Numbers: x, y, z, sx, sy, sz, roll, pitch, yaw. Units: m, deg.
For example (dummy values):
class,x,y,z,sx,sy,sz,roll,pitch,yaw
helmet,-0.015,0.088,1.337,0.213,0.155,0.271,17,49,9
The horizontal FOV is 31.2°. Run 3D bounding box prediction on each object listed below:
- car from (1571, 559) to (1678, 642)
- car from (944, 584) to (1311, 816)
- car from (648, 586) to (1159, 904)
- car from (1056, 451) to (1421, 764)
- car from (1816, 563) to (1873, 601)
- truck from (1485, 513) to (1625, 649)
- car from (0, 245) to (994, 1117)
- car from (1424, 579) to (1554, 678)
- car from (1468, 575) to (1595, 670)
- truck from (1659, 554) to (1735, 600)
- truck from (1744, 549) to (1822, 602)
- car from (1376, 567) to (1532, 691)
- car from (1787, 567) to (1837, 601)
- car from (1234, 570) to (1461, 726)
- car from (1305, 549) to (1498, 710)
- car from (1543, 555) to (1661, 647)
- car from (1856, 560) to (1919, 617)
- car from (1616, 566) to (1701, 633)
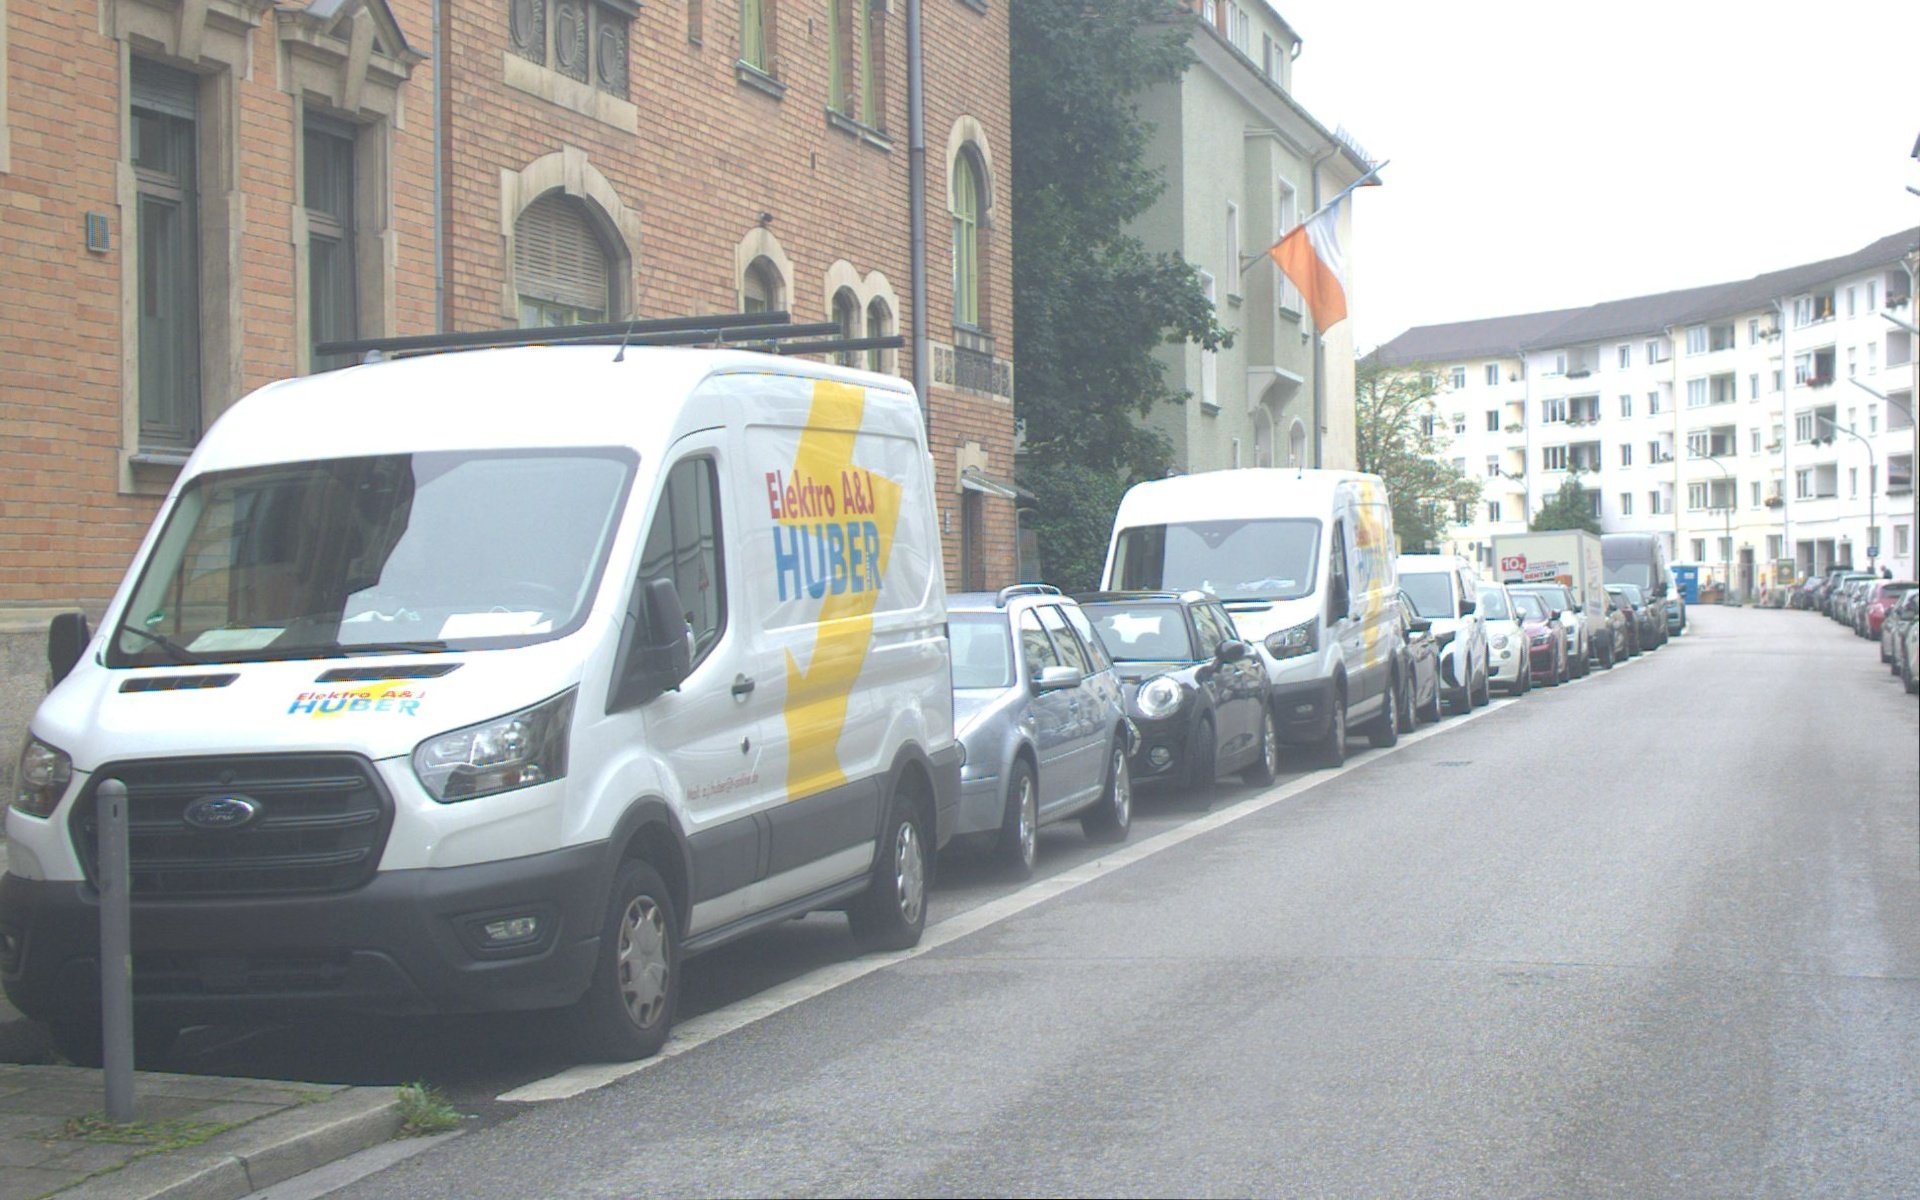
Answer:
class,x,y,z,sx,sy,sz,roll,pitch,yaw
car,14.640,0.009,75.564,1.995,1.756,4.378,-1,0,15
car,1.228,0.632,23.484,1.699,1.427,3.827,-2,0,15
car,-0.176,0.699,18.431,1.690,1.449,3.994,-3,0,14
car,2.447,0.068,28.674,2.138,2.341,5.366,-1,0,14
car,33.299,-0.681,129.507,1.783,1.380,3.998,-1,1,10
truck,10.767,-0.325,61.960,1.995,2.311,5.406,-1,0,15
car,-1.536,0.260,12.617,1.993,2.460,5.467,-2,-1,14
car,7.726,0.401,50.012,1.752,1.364,3.998,-1,0,10
car,9.270,0.350,55.598,1.796,1.464,3.865,-1,0,13
truck,37.664,-1.185,175.816,2.621,2.292,5.440,0,1,-1
truck,36.834,-1.099,153.987,2.225,2.292,5.290,-1,1,0
car,6.556,0.364,45.342,1.847,1.535,3.998,-1,0,11
car,36.337,-0.687,146.658,1.783,1.380,3.998,-1,1,10
car,3.894,0.451,34.036,1.745,1.440,3.997,-1,0,13
car,5.030,0.320,38.792,1.821,1.705,3.998,-1,0,12
car,12.949,0.020,69.199,1.995,1.756,4.378,-1,0,15
car,23.670,-0.309,86.690,1.783,1.380,3.998,-1,1,10
car,18.936,-0.015,93.112,1.995,1.756,4.378,-1,0,15
